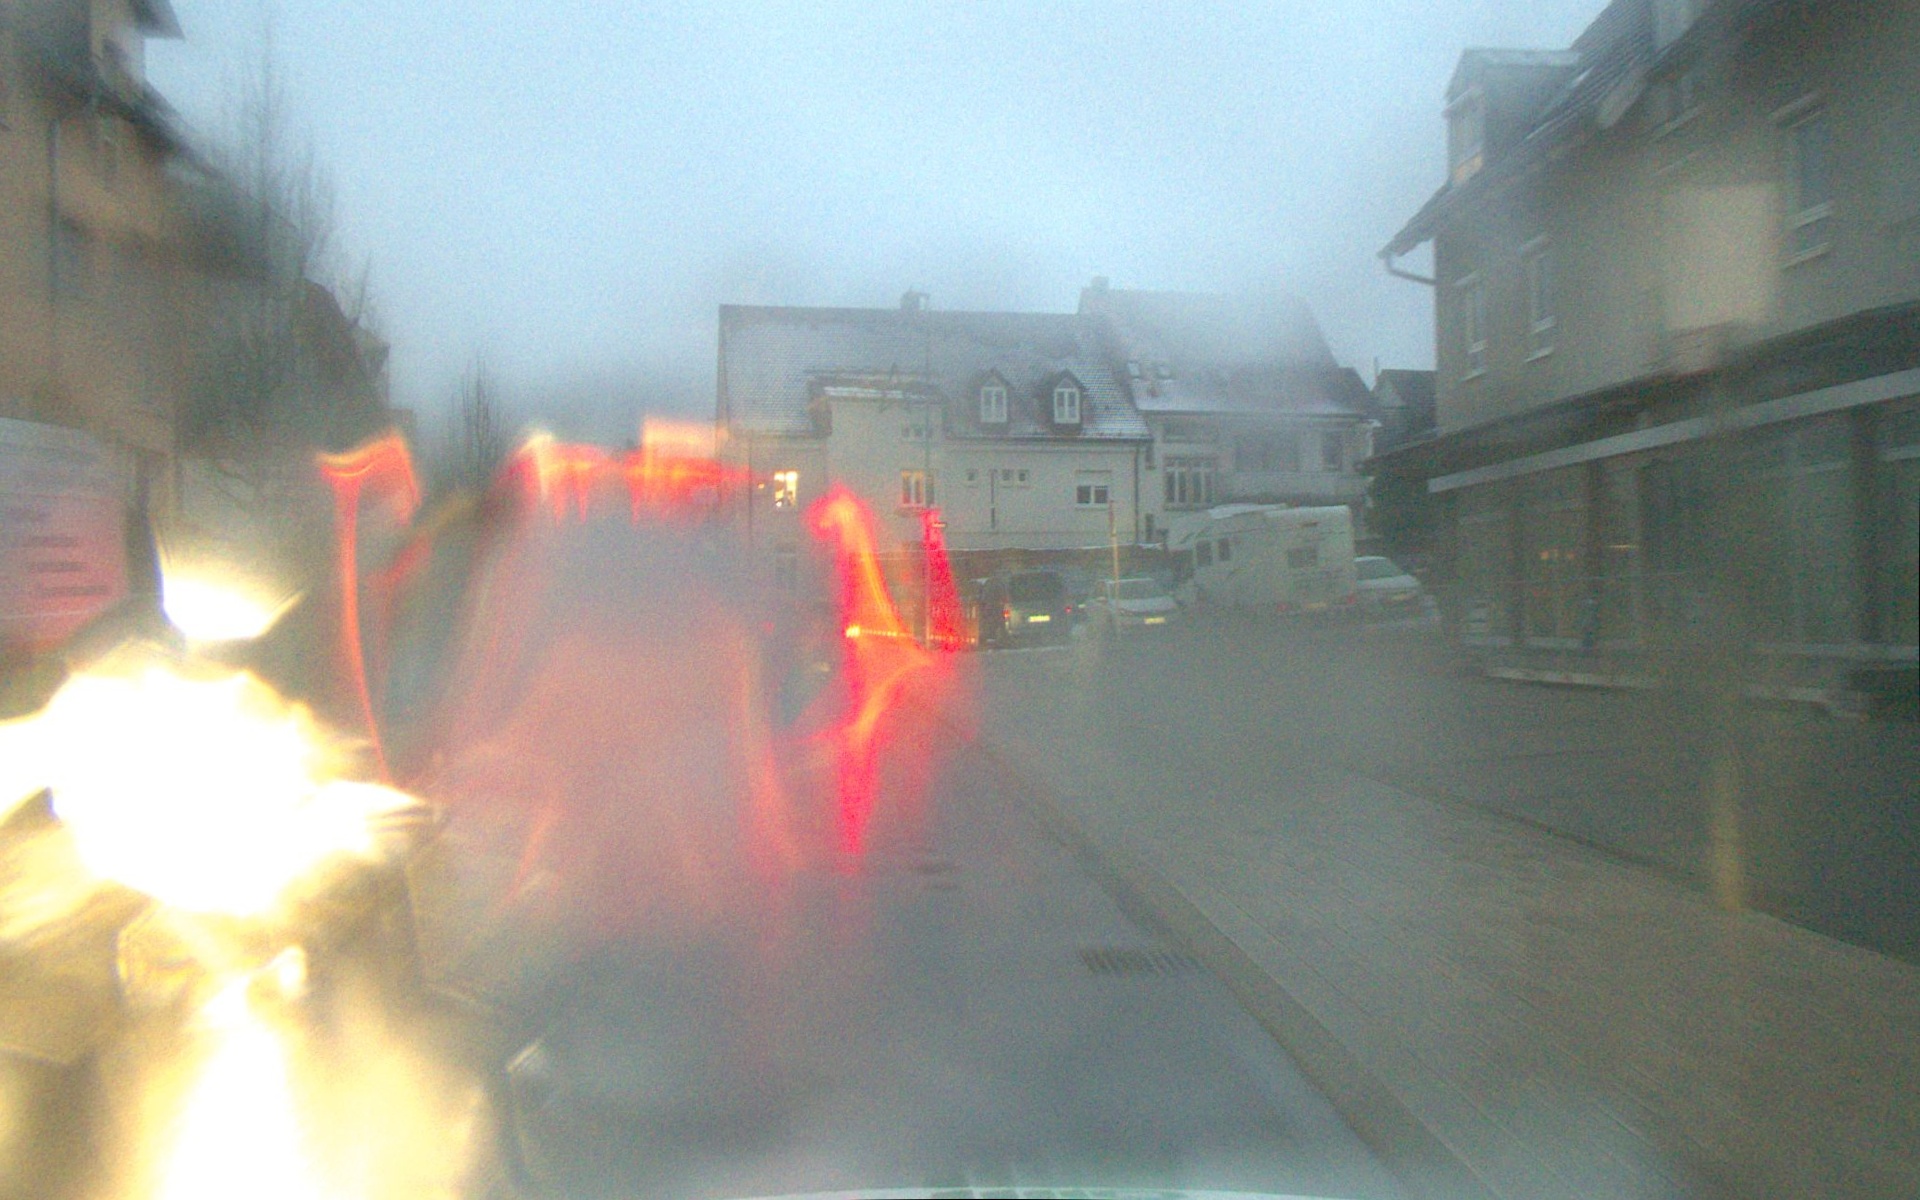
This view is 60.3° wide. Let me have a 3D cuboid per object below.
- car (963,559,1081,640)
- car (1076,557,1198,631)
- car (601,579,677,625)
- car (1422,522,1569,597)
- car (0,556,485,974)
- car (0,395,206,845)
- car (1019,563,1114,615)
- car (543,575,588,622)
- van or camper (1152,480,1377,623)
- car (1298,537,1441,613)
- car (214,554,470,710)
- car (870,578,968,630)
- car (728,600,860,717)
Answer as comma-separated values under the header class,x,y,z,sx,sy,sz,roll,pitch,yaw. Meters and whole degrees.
class,x,y,z,sx,sy,sz,roll,pitch,yaw
car,1.454,-0.042,40.548,1.958,1.795,4.340,-3,1,-10
car,4.276,-0.111,40.623,1.956,1.639,4.166,-3,0,-8
car,-11.961,0.060,61.471,1.967,1.616,3.971,0,0,-23
car,13.250,-0.992,41.152,1.956,1.634,3.995,-5,1,-6
car,-3.877,0.667,8.583,1.880,1.592,4.222,-3,0,-5
car,-6.753,0.102,8.801,2.435,2.605,6.760,1,0,-1
car,3.328,-0.380,52.569,1.791,1.487,4.534,-3,1,-13
car,-19.335,-0.089,80.983,1.961,2.241,3.982,0,0,-16
van or camper,7.370,-1.135,41.084,2.609,3.100,6.704,-4,1,-16
car,9.975,-0.597,40.595,1.758,1.580,3.988,-7,2,-12
car,-8.256,0.383,22.663,1.955,1.876,5.297,1,0,-6
car,-1.272,0.091,49.677,1.860,1.488,3.610,-1,1,-21
car,-2.422,0.804,24.529,1.779,1.560,3.996,0,0,-5
